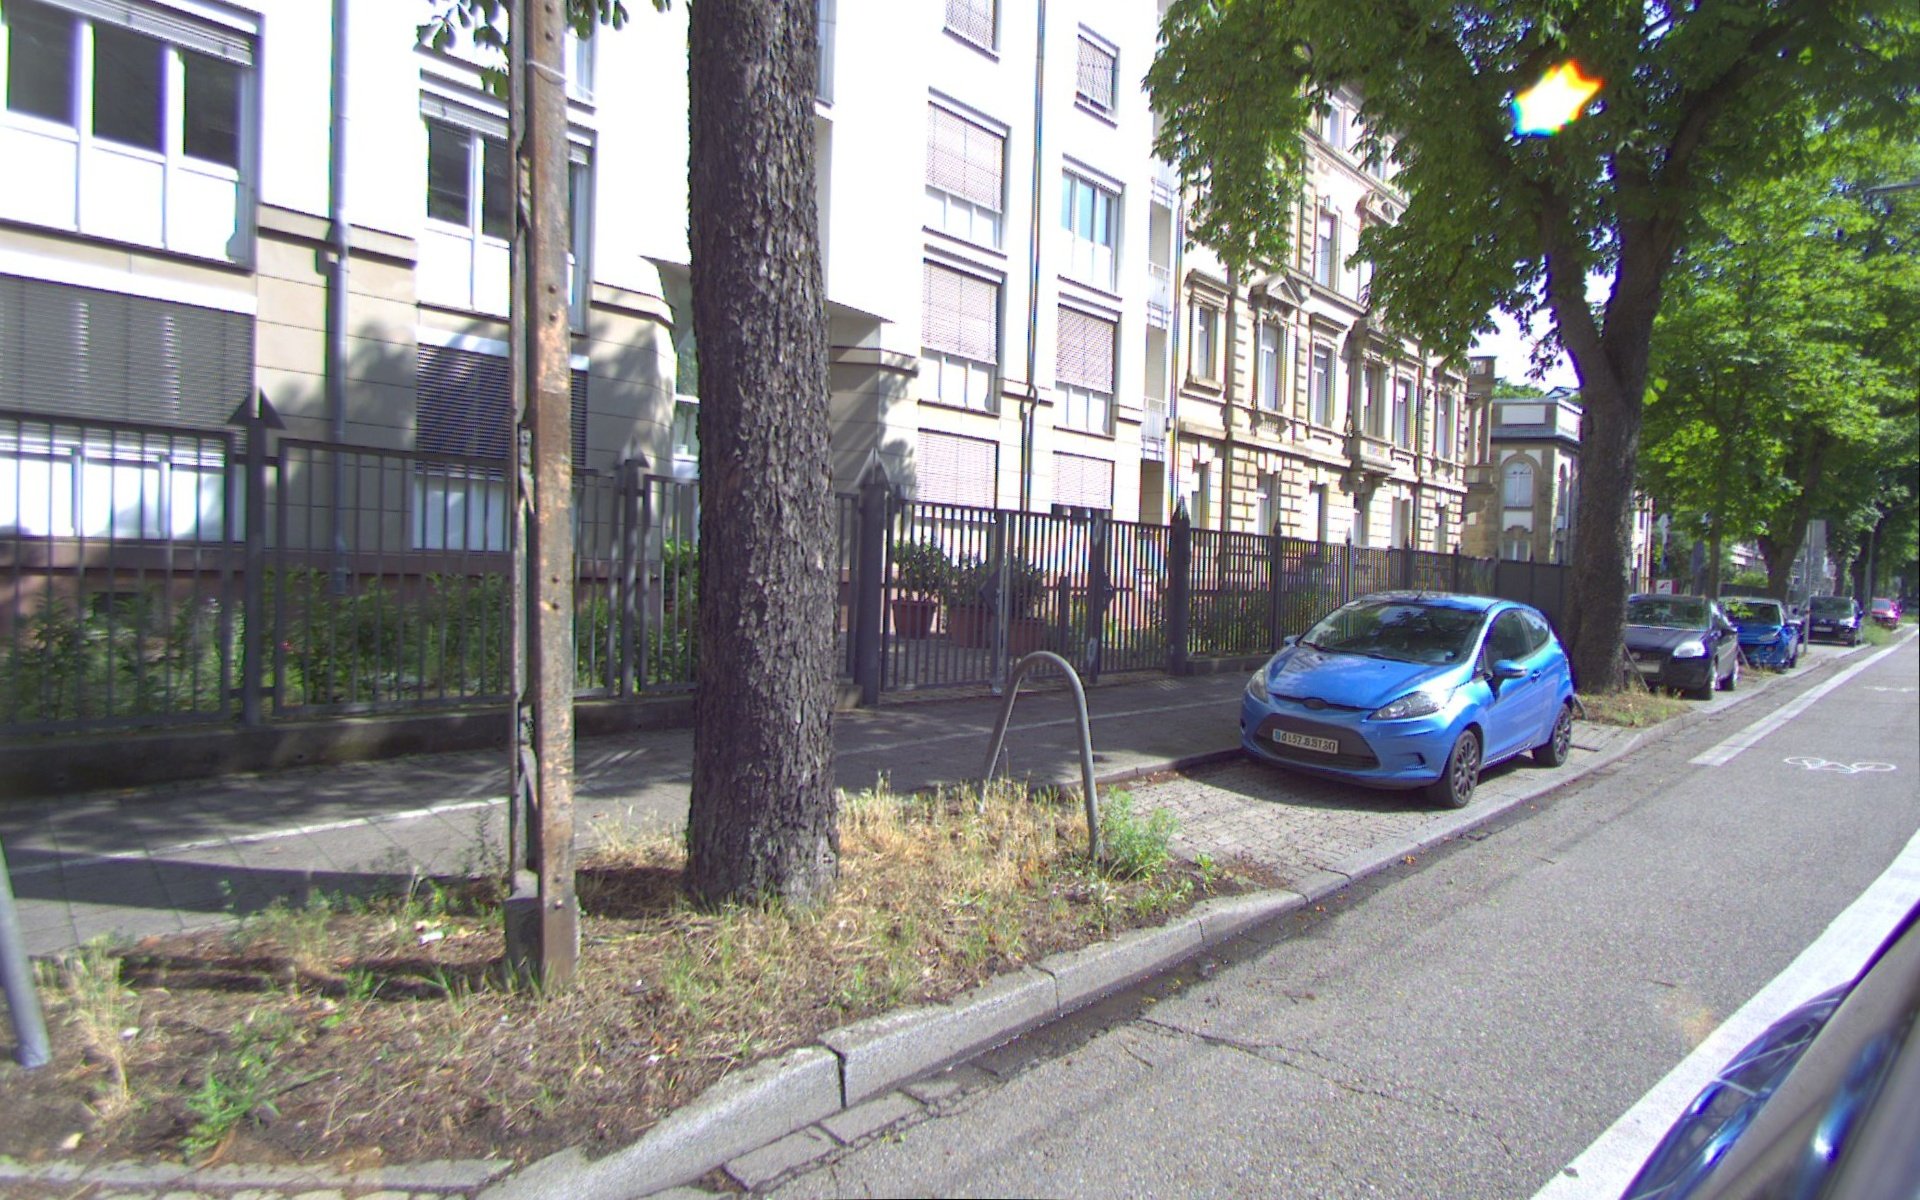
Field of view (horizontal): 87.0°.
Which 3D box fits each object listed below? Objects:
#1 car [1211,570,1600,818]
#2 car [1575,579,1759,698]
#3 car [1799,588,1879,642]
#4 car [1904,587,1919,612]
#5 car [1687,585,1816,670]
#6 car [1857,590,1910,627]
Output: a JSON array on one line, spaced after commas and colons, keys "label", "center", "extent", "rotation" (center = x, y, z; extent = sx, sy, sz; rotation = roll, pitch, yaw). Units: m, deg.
[{"label": "car", "center": [3.809, 0.592, 8.381], "extent": [3.601, 1.493, 1.644], "rotation": [0, 5, -44]}, {"label": "car", "center": [10.957, 0.511, 15.592], "extent": [1.676, 1.493, 3.602], "rotation": [7, 5, 44]}, {"label": "car", "center": [29.703, 0.465, 34.170], "extent": [1.741, 1.592, 3.602], "rotation": [7, 5, 44]}, {"label": "car", "center": [63.515, 0.010, 66.644], "extent": [1.741, 1.592, 3.867], "rotation": [7, 5, 44]}, {"label": "car", "center": [16.700, 0.518, 21.293], "extent": [1.676, 1.493, 3.602], "rotation": [7, 5, 44]}, {"label": "car", "center": [45.746, 0.400, 50.112], "extent": [1.741, 1.592, 3.867], "rotation": [7, 5, 44]}]
